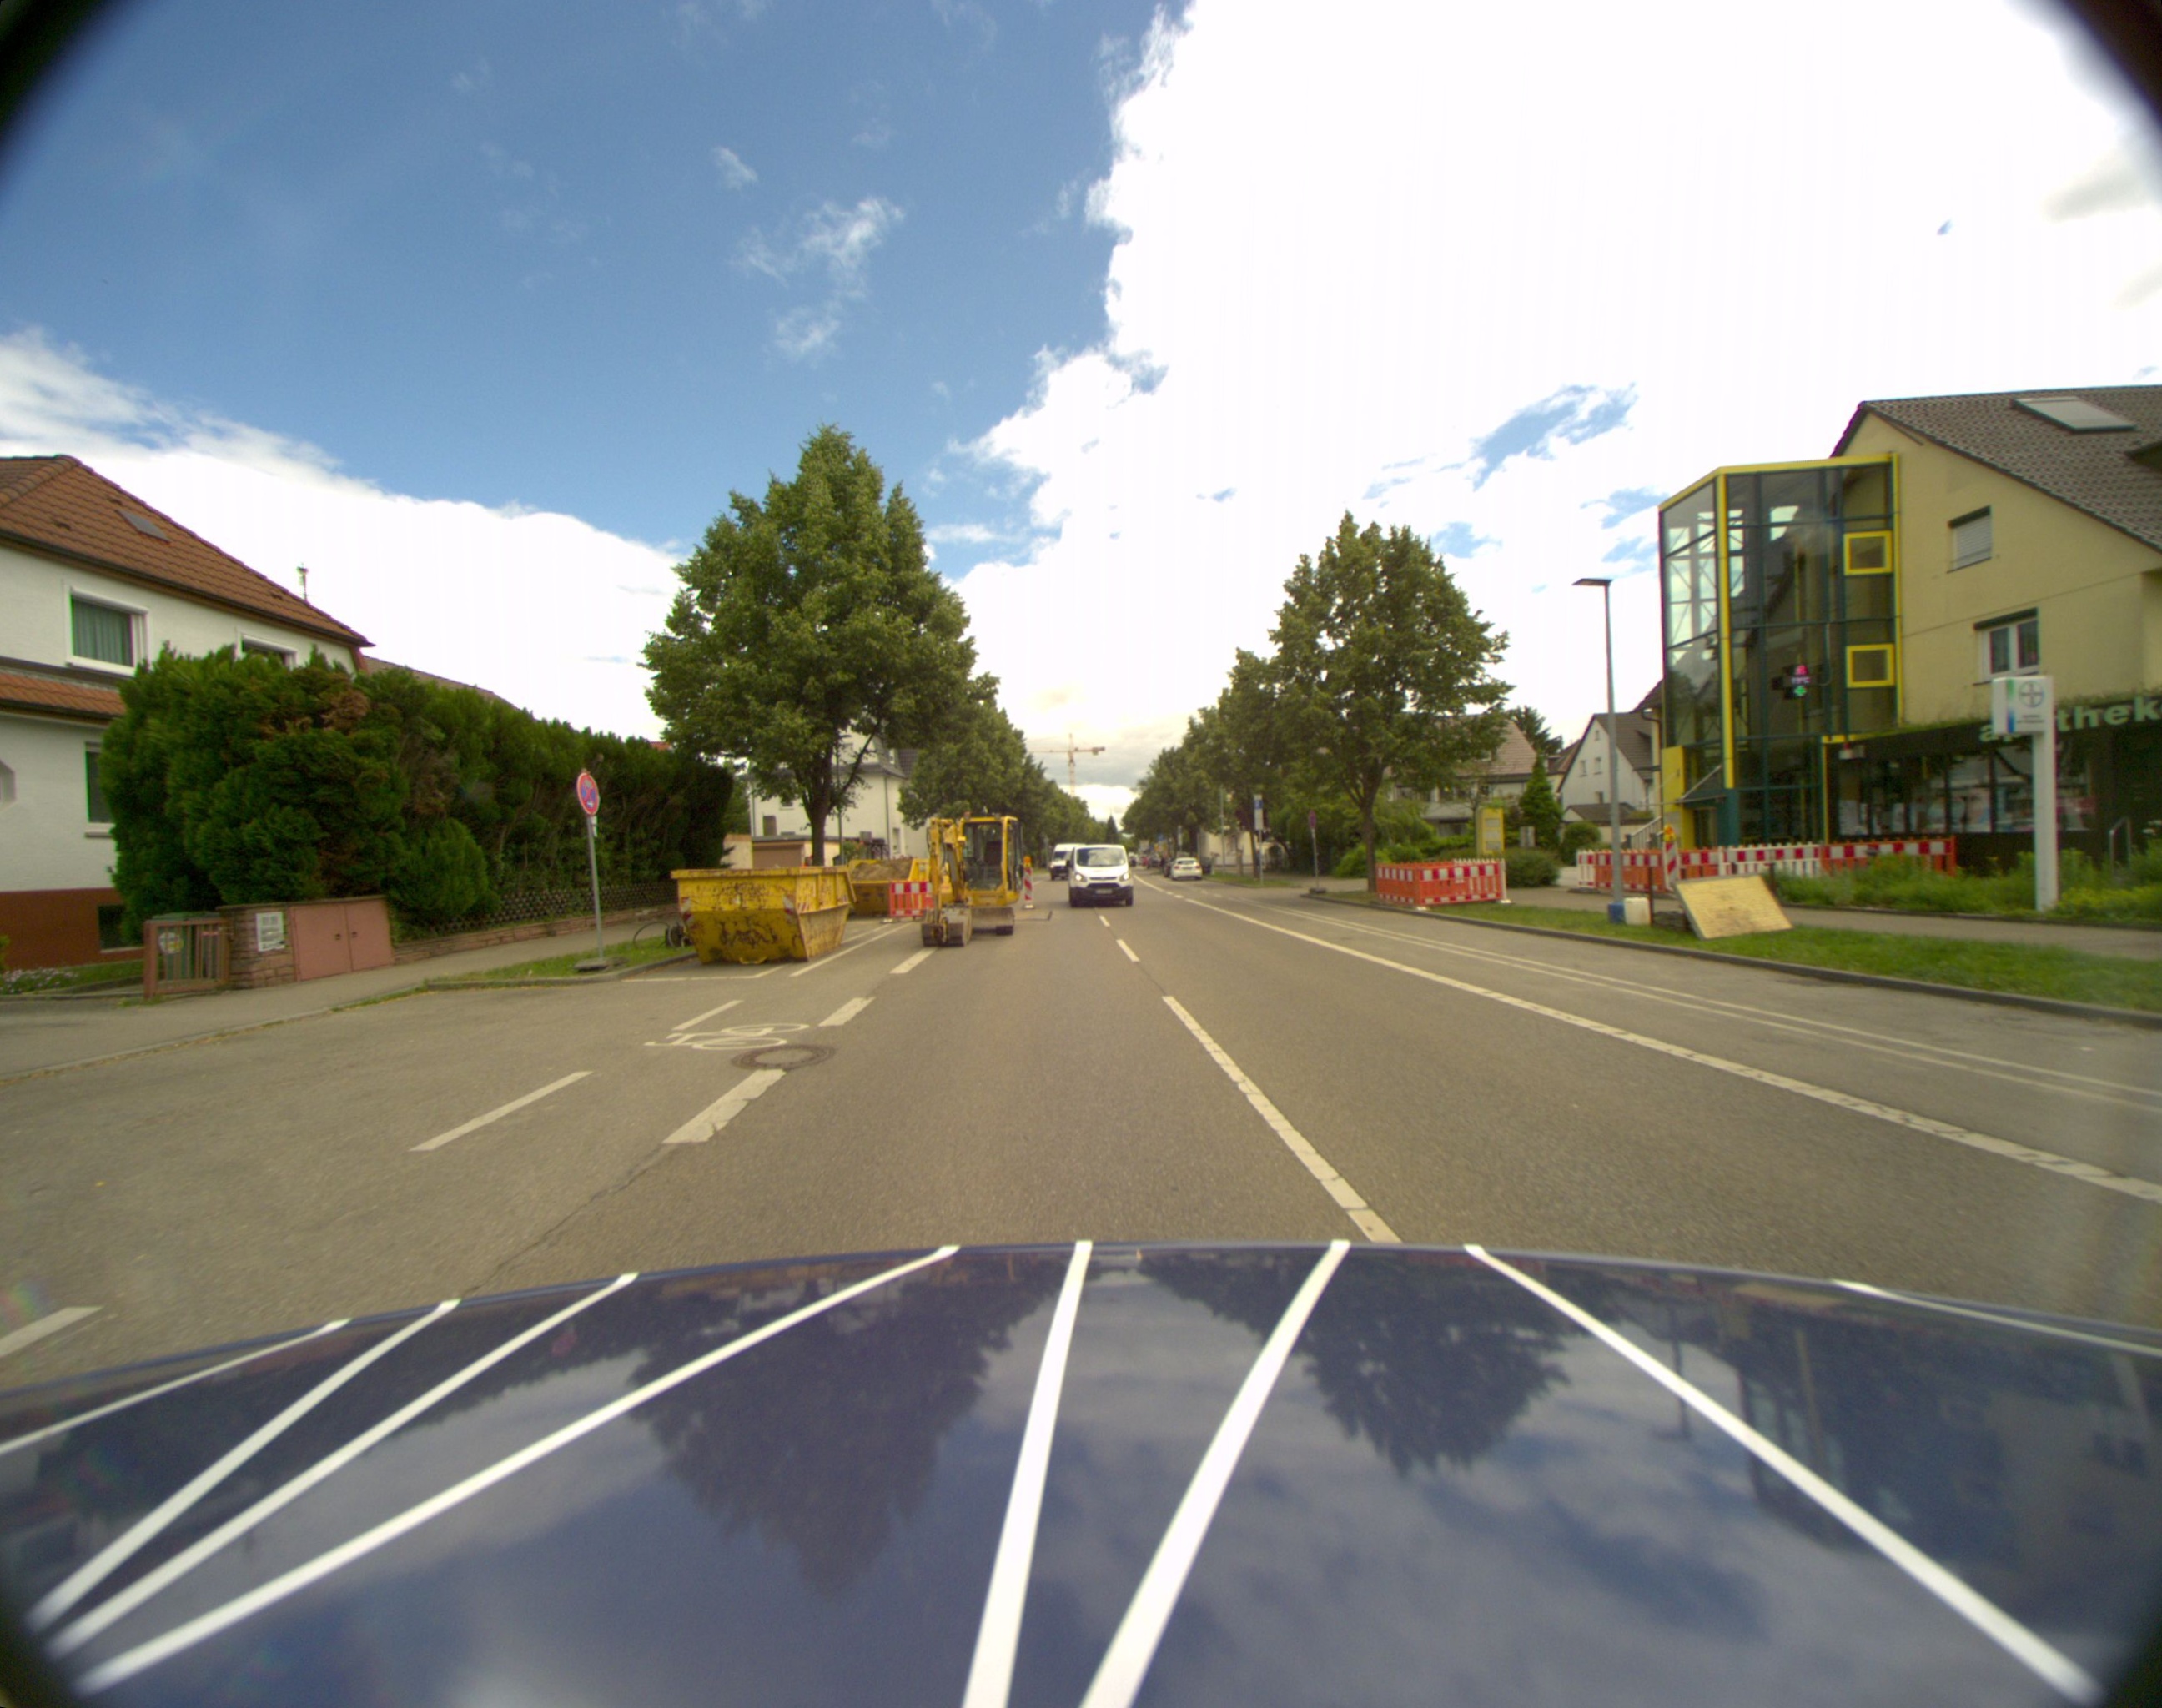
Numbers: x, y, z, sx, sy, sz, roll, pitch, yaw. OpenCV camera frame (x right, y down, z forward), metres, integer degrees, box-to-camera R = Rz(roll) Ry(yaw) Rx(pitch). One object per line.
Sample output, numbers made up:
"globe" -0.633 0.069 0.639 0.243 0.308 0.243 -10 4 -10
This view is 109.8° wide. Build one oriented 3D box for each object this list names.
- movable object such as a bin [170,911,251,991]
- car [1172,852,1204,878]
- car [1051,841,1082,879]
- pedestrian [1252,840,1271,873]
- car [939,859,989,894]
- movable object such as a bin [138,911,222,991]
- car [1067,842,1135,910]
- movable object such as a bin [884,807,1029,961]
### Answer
"movable object such as a bin" -11.976 1.325 10.459 0.499 1.038 0.519 -2 0 9
"car" 6.761 0.663 48.384 1.890 1.565 4.002 -2 0 6
"car" -1.022 0.403 55.310 1.998 2.584 4.000 -2 0 1
"pedestrian" 10.942 0.144 46.054 0.826 2.002 0.998 -2 0 -2
"car" -5.804 1.068 38.131 1.822 1.576 4.048 -2 0 1
"movable object such as a bin" -12.505 1.335 10.553 0.540 1.052 0.519 -2 0 10
"car" 0.732 0.675 25.626 1.998 2.002 5.319 -2 0 3
"movable object such as a bin" -2.257 0.506 15.098 1.998 2.550 4.547 -2 0 1
